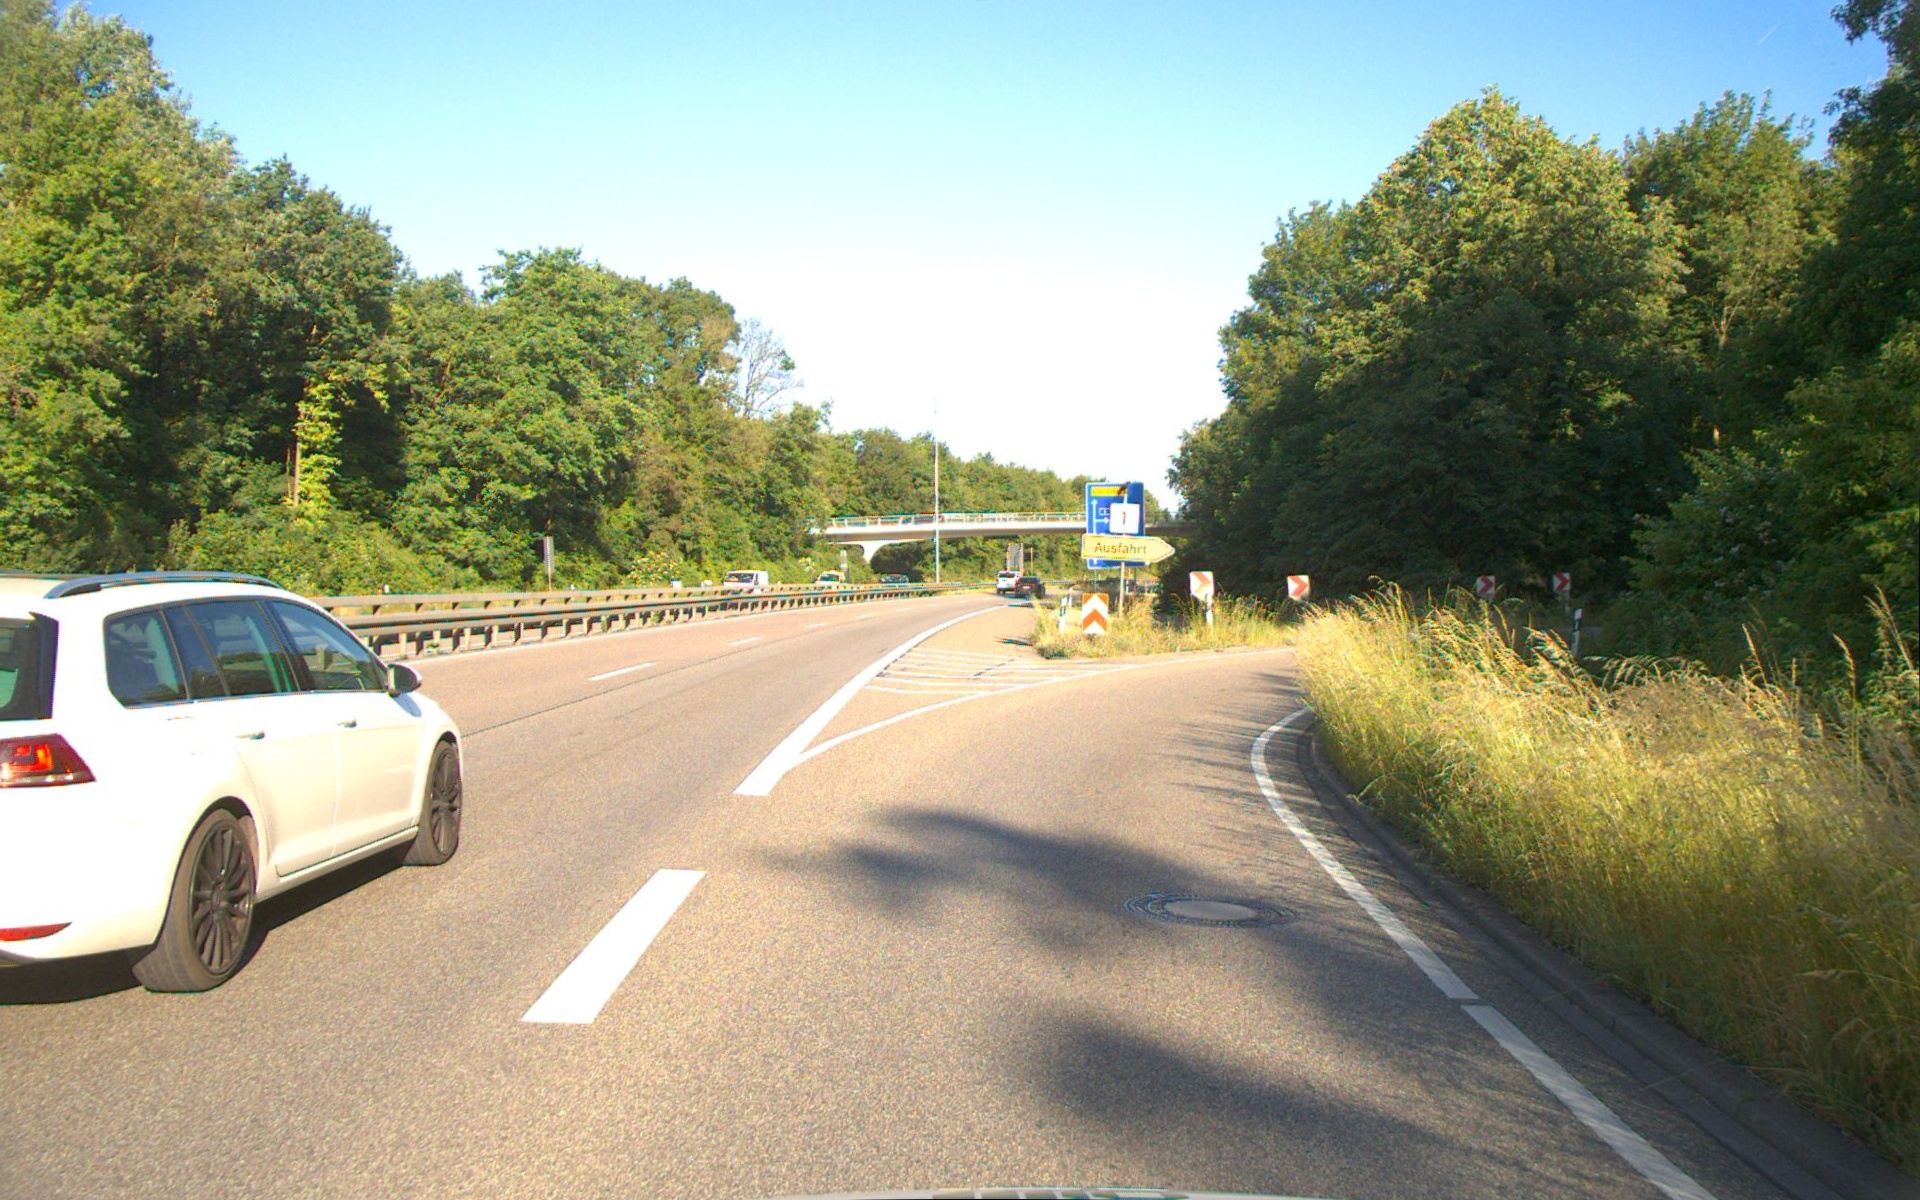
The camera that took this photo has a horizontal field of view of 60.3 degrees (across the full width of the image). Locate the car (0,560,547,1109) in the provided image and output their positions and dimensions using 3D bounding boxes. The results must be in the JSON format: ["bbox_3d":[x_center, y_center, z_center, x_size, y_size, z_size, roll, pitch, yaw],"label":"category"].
[{"bbox_3d":[-3.522,0.609,7.417,1.890,1.534,5.599,1,1,0],"label":"car"}]

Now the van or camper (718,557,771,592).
[{"bbox_3d":[-12.782,-1.521,98.533,2.029,2.049,4.822,0,1,6],"label":"van or camper"}]

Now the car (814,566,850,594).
[{"bbox_3d":[-9.356,-1.464,121.395,1.951,2.049,4.003,0,1,5],"label":"car"}]

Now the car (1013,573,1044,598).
[{"bbox_3d":[4.674,-0.992,112.055,1.702,1.691,3.949,0,1,9],"label":"car"}]

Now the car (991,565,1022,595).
[{"bbox_3d":[3.613,-1.566,129.186,1.951,2.317,4.004,0,1,8],"label":"car"}]
